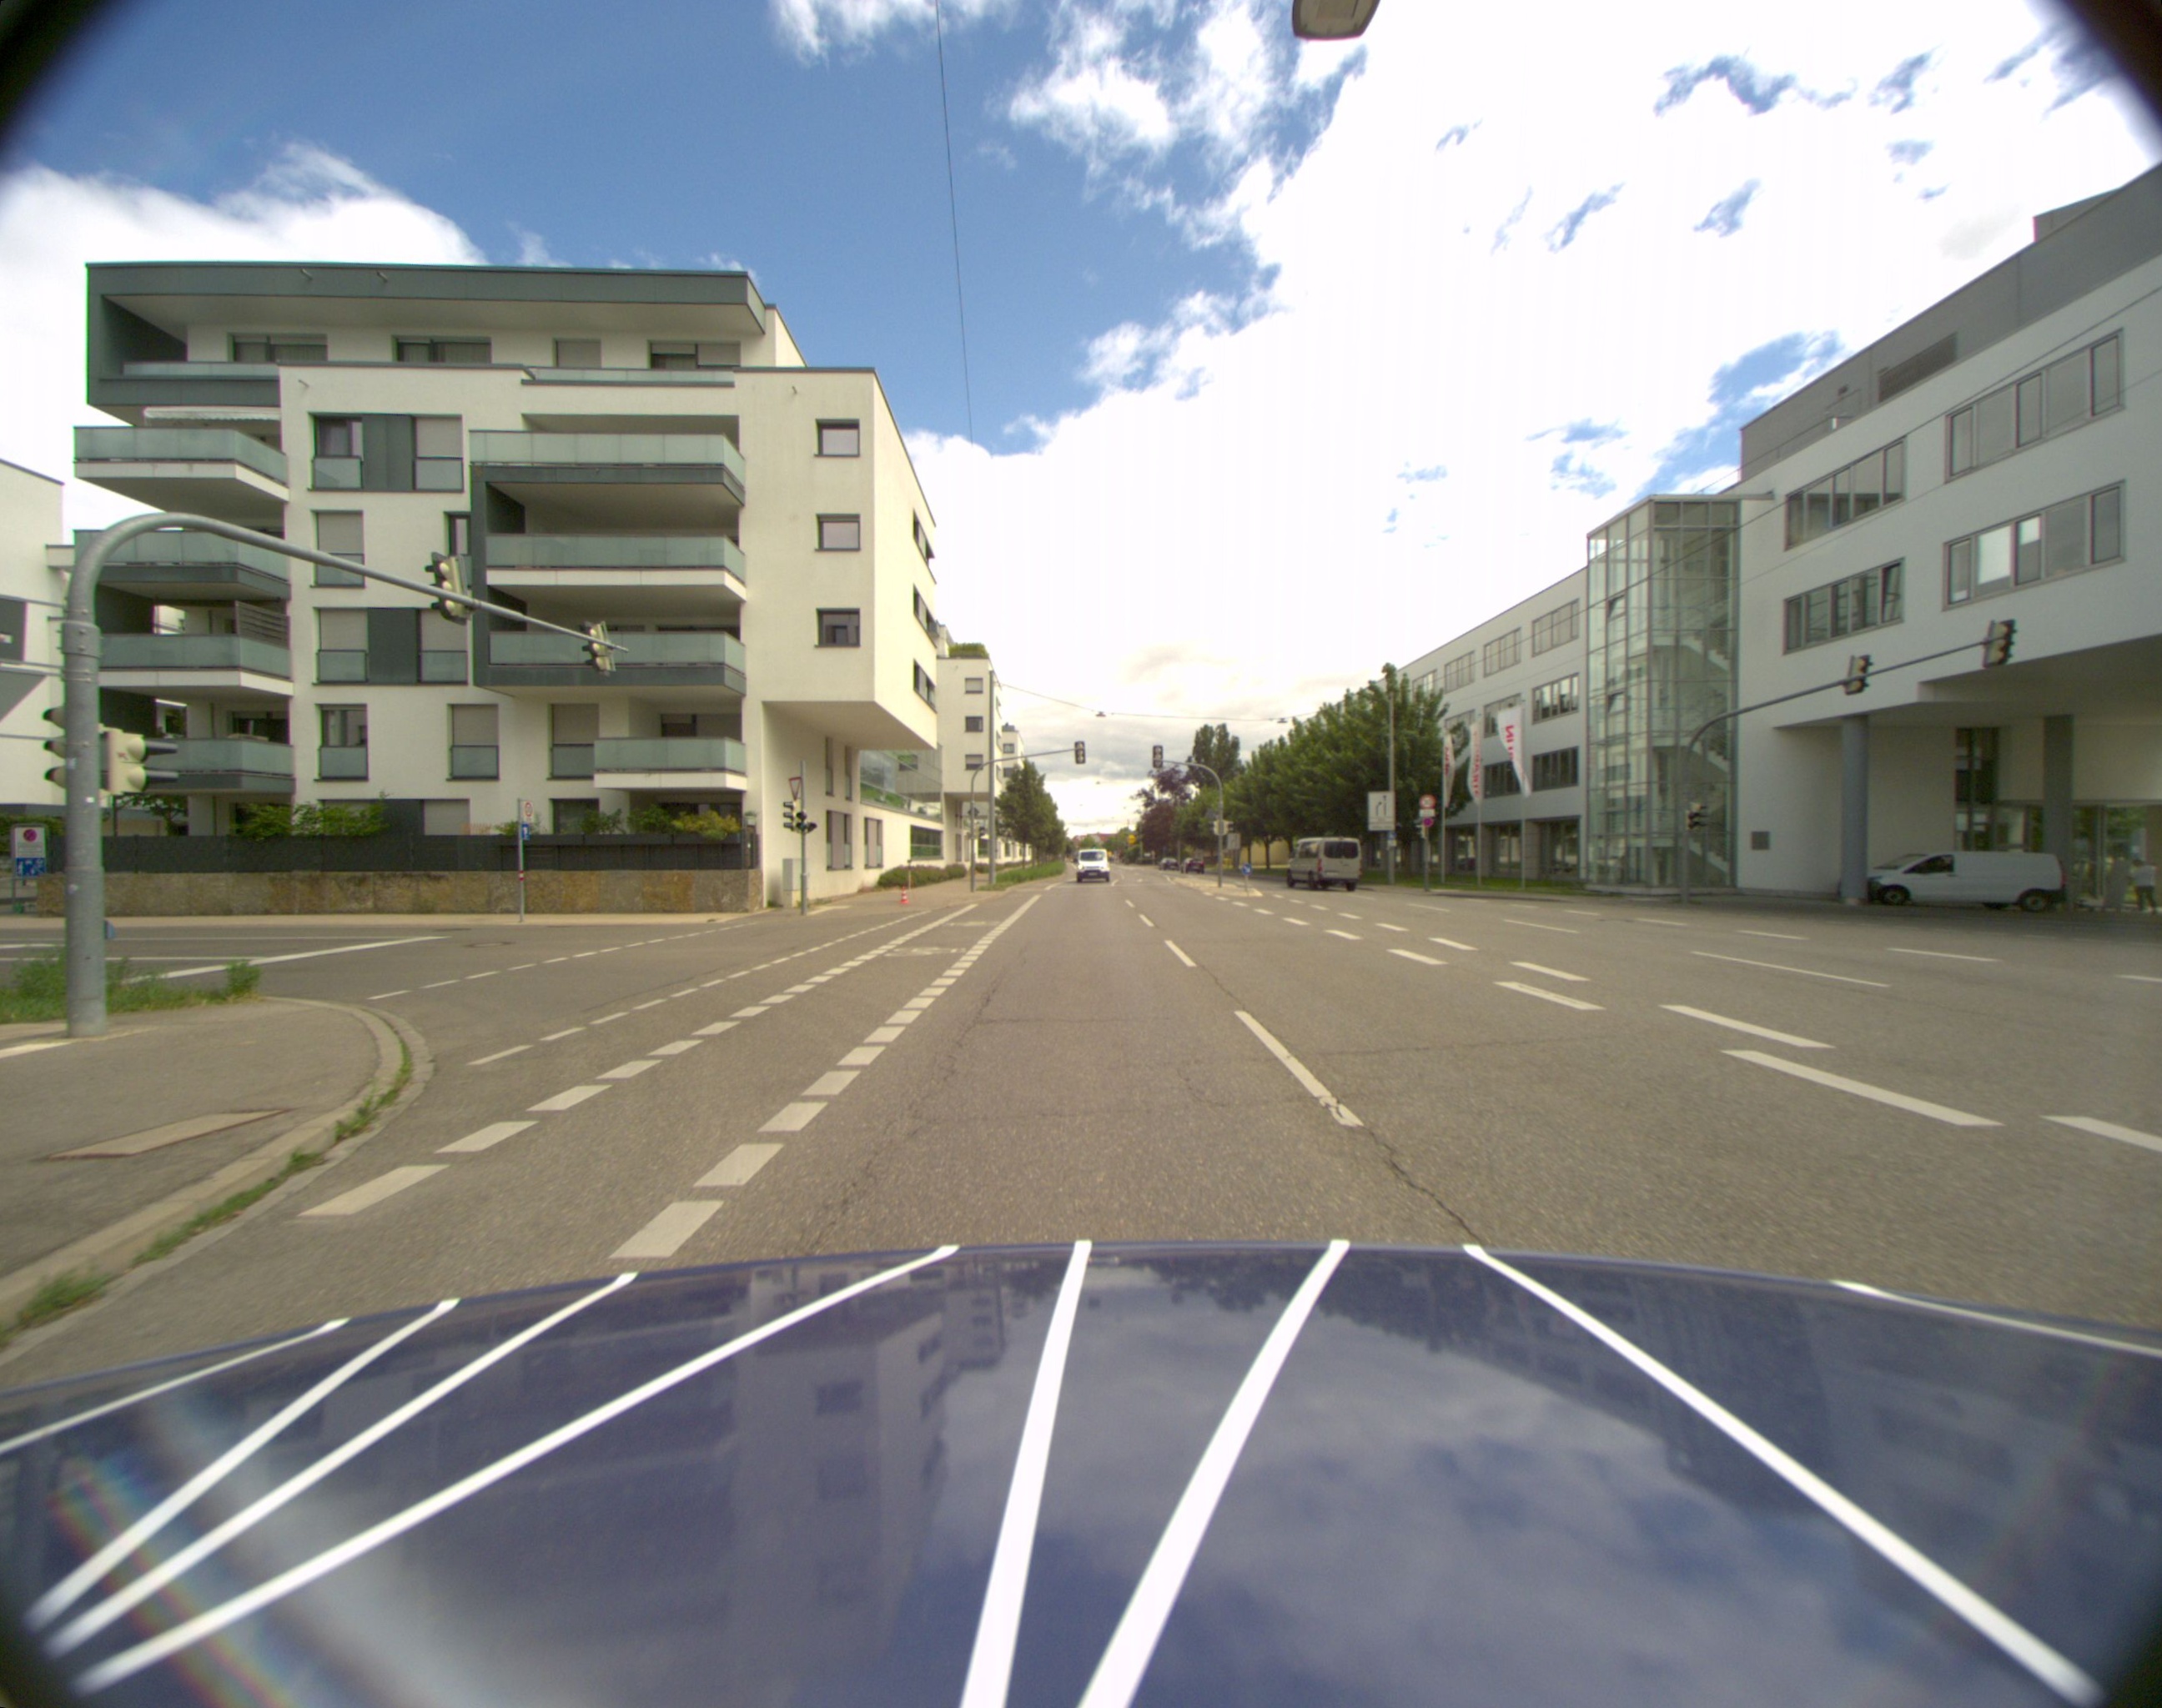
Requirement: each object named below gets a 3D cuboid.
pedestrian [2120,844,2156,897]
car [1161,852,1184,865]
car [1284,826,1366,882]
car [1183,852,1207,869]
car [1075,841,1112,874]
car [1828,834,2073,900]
[{"bbox_3d":[34.096,0.527,24.515,0.512,1.653,0.486,-3,2,-3],"label":"pedestrian"},{"bbox_3d":[11.167,0.525,92.780,2.029,1.437,5.048,1,1,-2],"label":"car"},{"bbox_3d":[11.645,-0.033,36.766,2.148,2.457,6.072,1,1,1],"label":"car"},{"bbox_3d":[11.101,0.607,74.092,1.889,1.543,4.539,1,2,3],"label":"car"},{"bbox_3d":[0.722,0.167,46.597,1.999,1.906,3.998,-2,1,-2],"label":"car"},{"bbox_3d":[28.544,0.343,25.211,4.822,1.858,2.087,2,4,24],"label":"car"}]
